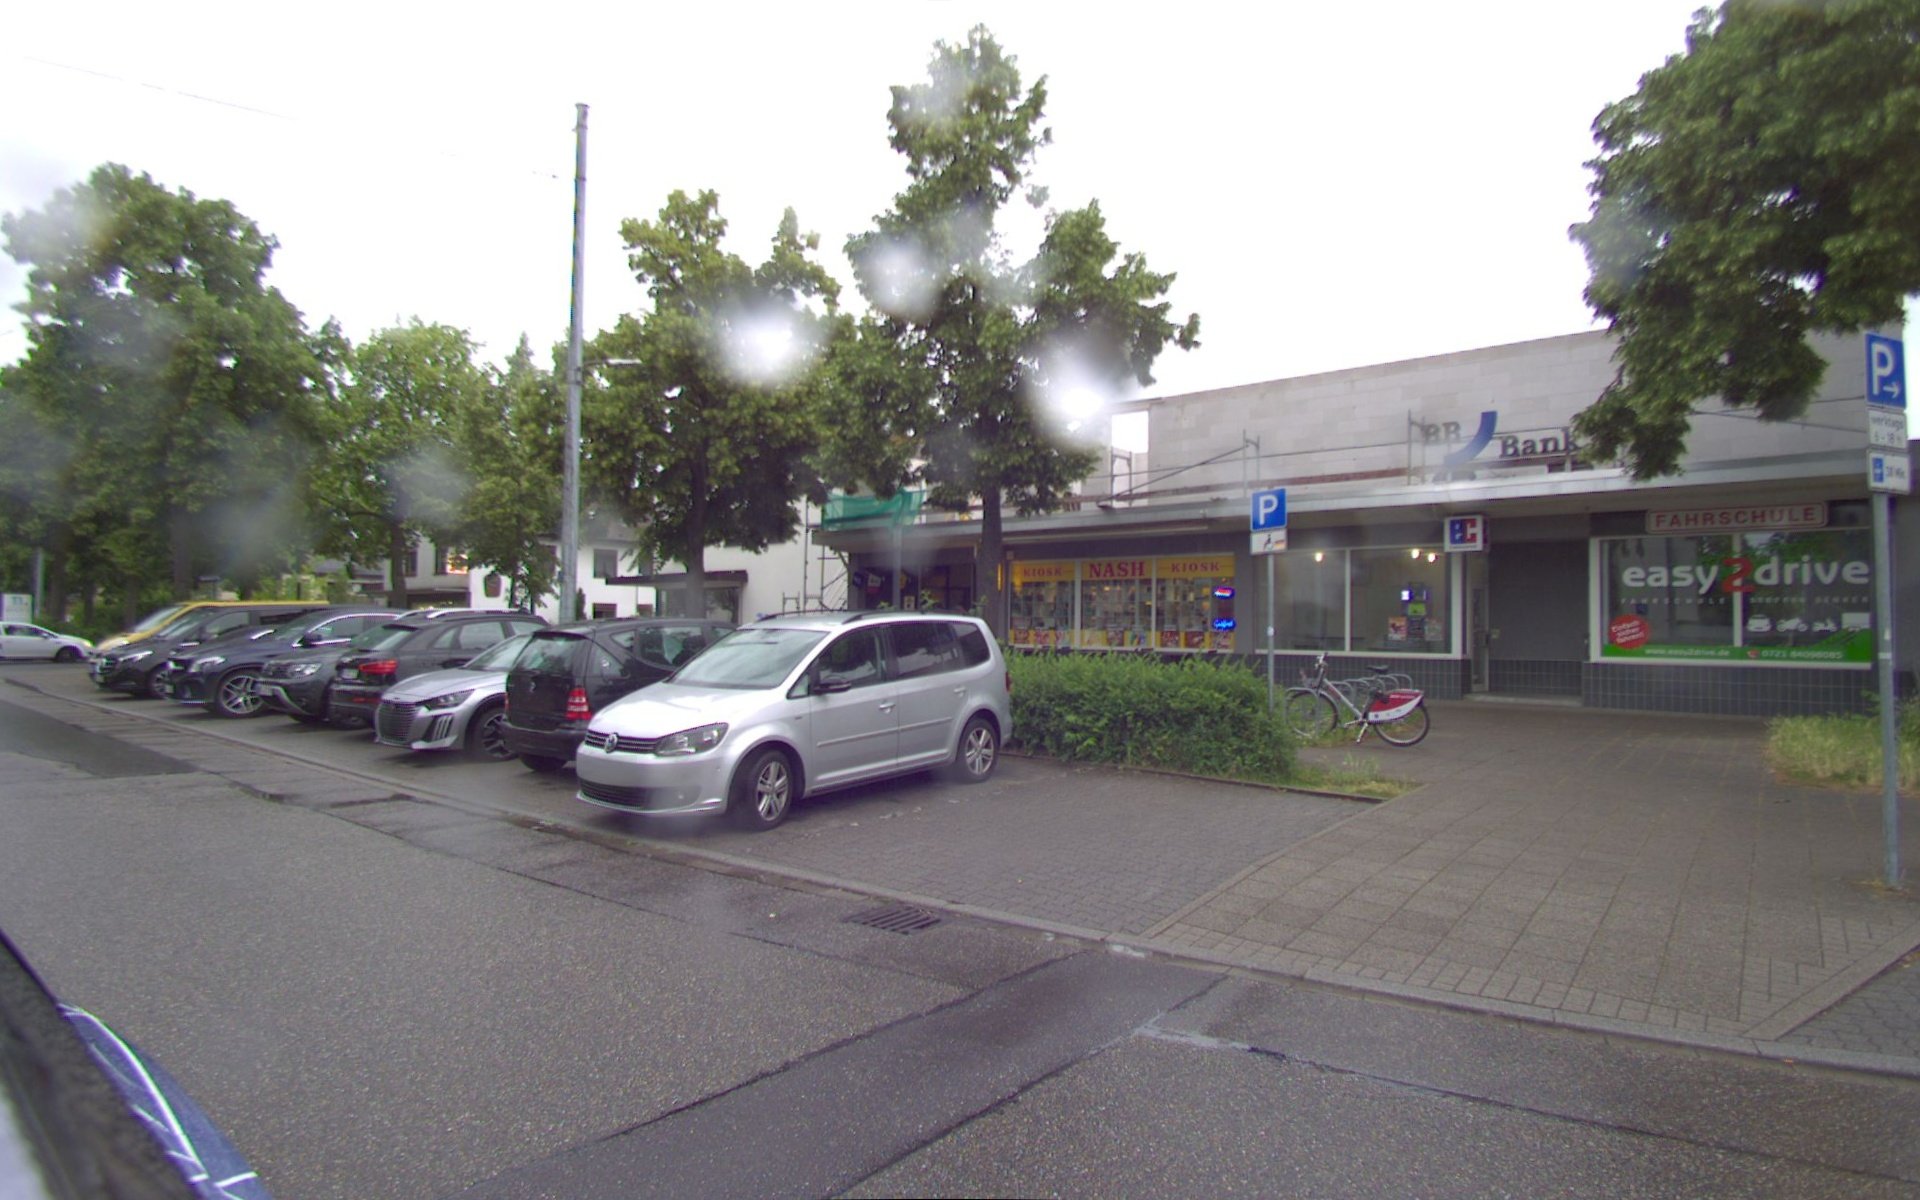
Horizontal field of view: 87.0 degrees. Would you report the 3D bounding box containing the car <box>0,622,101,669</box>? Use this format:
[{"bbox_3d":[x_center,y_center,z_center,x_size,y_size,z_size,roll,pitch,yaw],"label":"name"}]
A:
[{"bbox_3d":[-31.746,1.520,33.888,1.996,1.465,4.205,-1,0,36],"label":"car"}]

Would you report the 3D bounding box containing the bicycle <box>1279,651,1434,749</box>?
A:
[{"bbox_3d":[4.817,1.192,12.347,1.739,1.115,0.316,-1,0,25],"label":"bicycle"}]

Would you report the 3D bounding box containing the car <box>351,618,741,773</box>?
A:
[{"bbox_3d":[-4.943,1.015,12.610,1.713,1.544,4.231,-1,-1,38],"label":"car"}]

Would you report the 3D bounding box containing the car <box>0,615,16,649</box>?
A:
[{"bbox_3d":[-49.765,1.645,50.254,1.997,1.698,3.950,-1,0,37],"label":"car"}]

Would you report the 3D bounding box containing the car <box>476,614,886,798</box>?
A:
[{"bbox_3d":[-2.838,0.972,11.142,1.633,1.577,4.231,-1,0,38],"label":"car"}]

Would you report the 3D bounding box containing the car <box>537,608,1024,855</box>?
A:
[{"bbox_3d":[-1.320,0.900,8.996,1.713,1.647,4.231,-1,-1,38],"label":"car"}]

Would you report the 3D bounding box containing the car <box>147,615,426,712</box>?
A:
[{"bbox_3d":[-12.974,1.136,19.747,1.713,1.639,4.231,-1,-1,38],"label":"car"}]

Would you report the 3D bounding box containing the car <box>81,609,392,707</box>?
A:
[{"bbox_3d":[-15.141,1.112,21.502,1.713,1.813,5.114,-1,-1,38],"label":"car"}]

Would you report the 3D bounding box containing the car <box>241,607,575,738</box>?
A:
[{"bbox_3d":[-8.340,0.981,15.641,1.713,1.740,4.231,-1,-1,38],"label":"car"}]

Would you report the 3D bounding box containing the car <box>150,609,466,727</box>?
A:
[{"bbox_3d":[-10.969,1.040,17.292,1.713,1.740,4.231,-1,-1,38],"label":"car"}]

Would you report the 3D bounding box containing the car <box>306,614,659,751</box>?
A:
[{"bbox_3d":[-6.572,1.023,14.345,1.713,1.607,4.231,-1,-1,38],"label":"car"}]

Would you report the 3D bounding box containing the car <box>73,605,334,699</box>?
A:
[{"bbox_3d":[-17.445,1.107,23.563,1.713,1.973,4.600,-1,-1,38],"label":"car"}]
